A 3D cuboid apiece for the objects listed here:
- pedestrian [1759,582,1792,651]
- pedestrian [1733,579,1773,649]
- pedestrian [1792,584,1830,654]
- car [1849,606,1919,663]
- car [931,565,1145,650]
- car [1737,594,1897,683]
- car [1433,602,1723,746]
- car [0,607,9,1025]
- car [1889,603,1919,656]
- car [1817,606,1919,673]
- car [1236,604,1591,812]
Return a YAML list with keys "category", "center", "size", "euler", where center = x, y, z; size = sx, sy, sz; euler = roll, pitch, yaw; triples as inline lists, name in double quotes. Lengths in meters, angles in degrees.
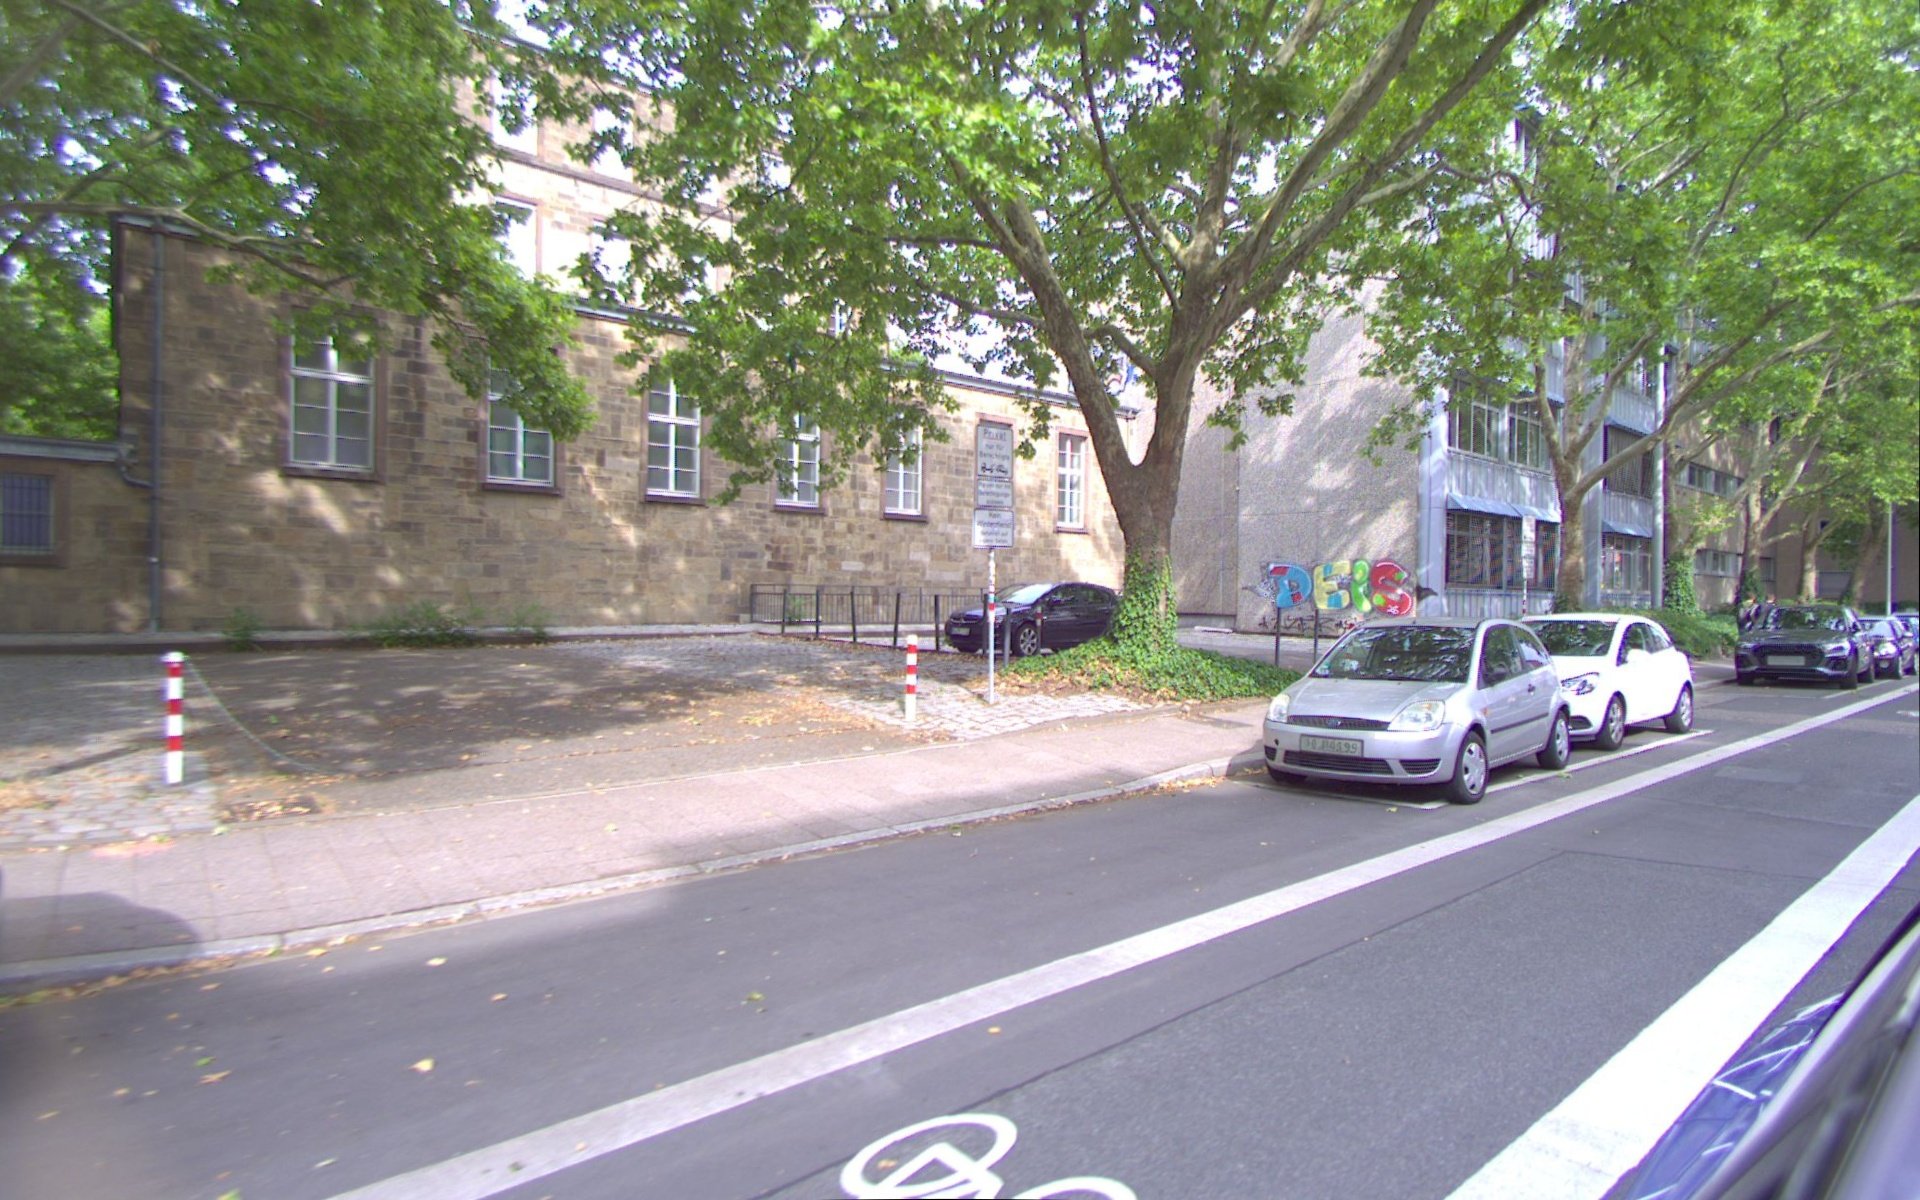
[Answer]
- category: "pedestrian"
  center: [22.123, 0.438, 27.449]
  size: [0.518, 1.806, 0.502]
  euler: [0, 4, -41]
- category: "pedestrian"
  center: [21.987, 0.381, 28.050]
  size: [0.634, 1.855, 0.643]
  euler: [0, 4, -41]
- category: "pedestrian"
  center: [22.723, 0.491, 27.032]
  size: [0.468, 1.806, 0.592]
  euler: [0, 4, -41]
- category: "car"
  center: [25.195, 0.875, 27.034]
  size: [3.885, 1.441, 1.601]
  euler: [0, -1, -40]
- category: "car"
  center: [1.594, 0.194, 19.627]
  size: [4.223, 1.468, 1.671]
  euler: [3, -1, -42]
- category: "car"
  center: [17.791, 0.732, 20.935]
  size: [4.404, 1.642, 1.923]
  euler: [0, -1, -42]
- category: "car"
  center: [7.614, 0.771, 12.326]
  size: [4.143, 1.466, 1.757]
  euler: [0, -1, -40]
- category: "car"
  center: [-4.491, 0.756, 2.006]
  size: [3.741, 1.468, 1.589]
  euler: [0, -2, -43]
- category: "car"
  center: [29.313, 0.846, 30.321]
  size: [4.361, 1.524, 1.601]
  euler: [0, -1, -40]
- category: "car"
  center: [21.937, 0.874, 24.058]
  size: [4.492, 1.451, 1.642]
  euler: [0, -1, -40]
- category: "car"
  center: [4.200, 0.777, 9.078]
  size: [3.819, 1.466, 1.643]
  euler: [0, -1, -45]
